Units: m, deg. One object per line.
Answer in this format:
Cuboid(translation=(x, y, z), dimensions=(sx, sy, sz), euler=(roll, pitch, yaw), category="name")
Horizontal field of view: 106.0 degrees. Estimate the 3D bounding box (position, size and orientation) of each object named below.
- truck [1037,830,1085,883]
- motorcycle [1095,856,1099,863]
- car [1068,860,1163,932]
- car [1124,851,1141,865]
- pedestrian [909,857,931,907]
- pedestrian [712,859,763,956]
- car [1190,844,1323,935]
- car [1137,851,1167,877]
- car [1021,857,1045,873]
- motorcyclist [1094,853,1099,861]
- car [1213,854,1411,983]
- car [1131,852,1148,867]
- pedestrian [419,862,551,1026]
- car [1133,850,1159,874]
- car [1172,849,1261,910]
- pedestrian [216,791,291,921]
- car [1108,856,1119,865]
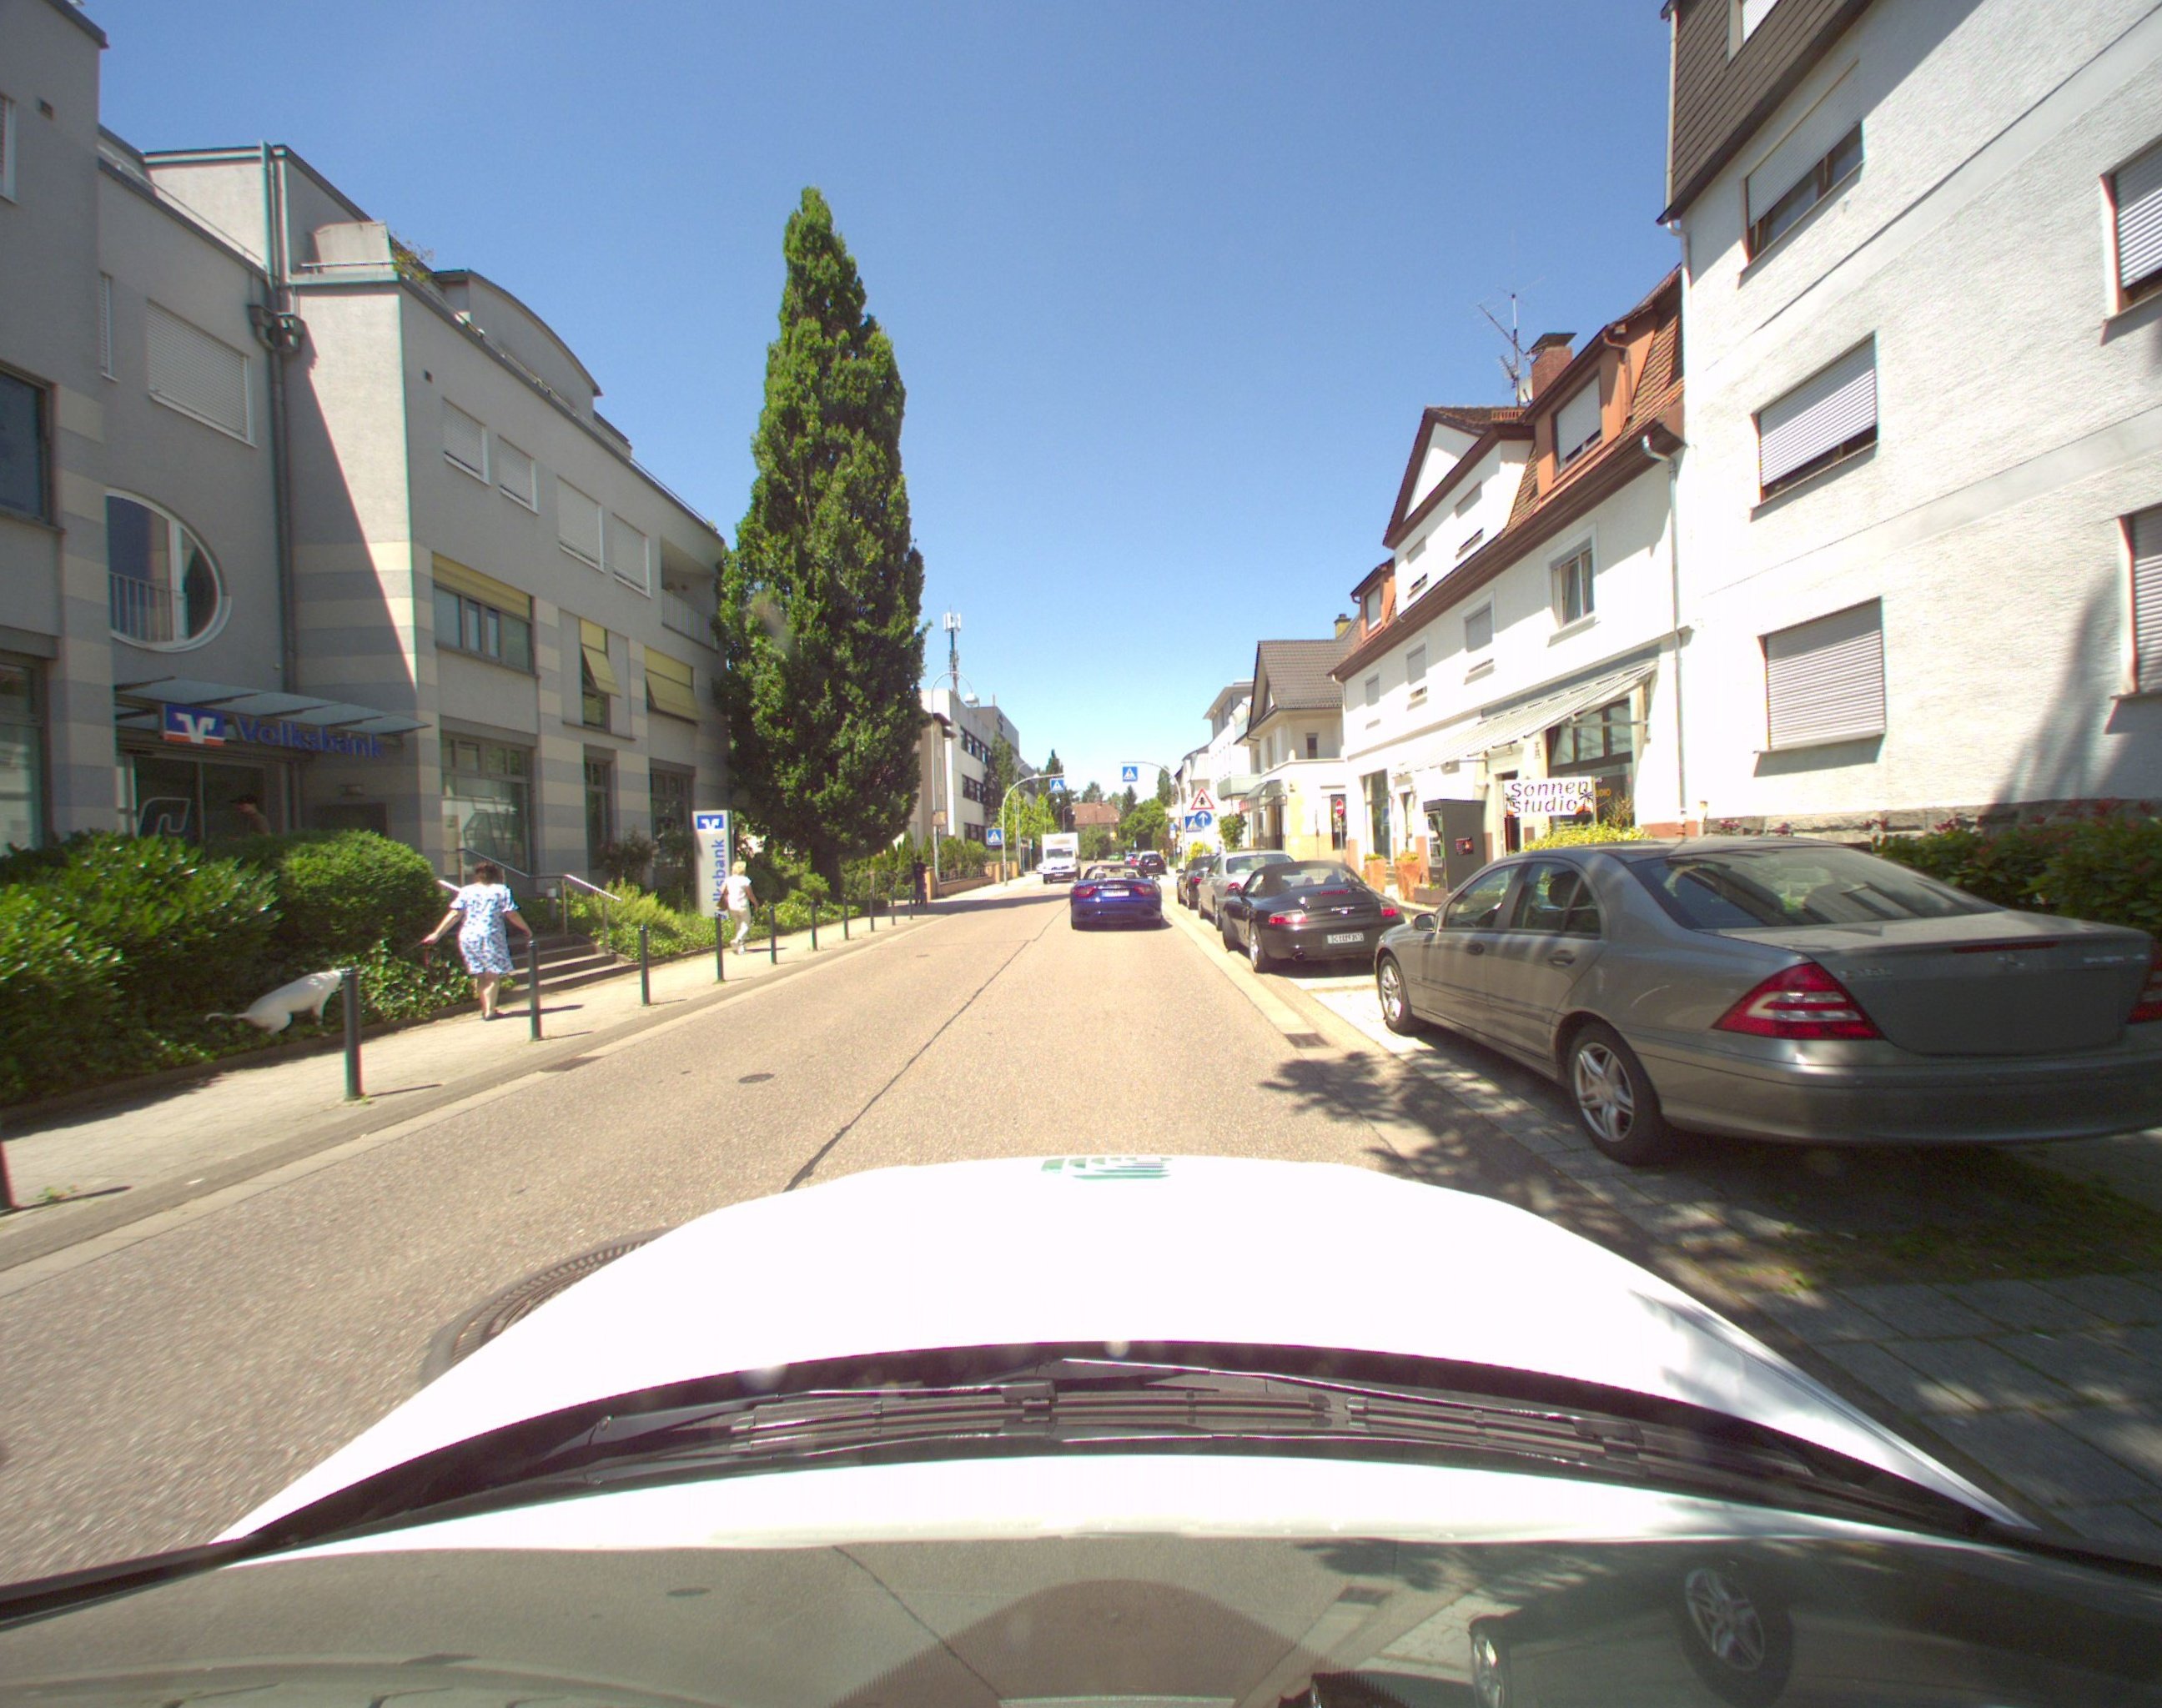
Cuboid(translation=(-1.157, 0.147, 50.203), dimensions=(2.410, 2.983, 6.261), euler=(-3, 0, 2), category="truck")
Cuboid(translation=(2.725, 0.927, 140.698), dimensions=(0.696, 1.107, 1.790), euler=(-4, 0, 1), category="motorcycle")
Cuboid(translation=(0.754, 0.848, 18.261), dimensions=(1.820, 1.337, 4.702), euler=(-2, 0, 2), category="car")
Cuboid(translation=(6.355, 0.474, 100.954), dimensions=(1.836, 1.619, 4.430), euler=(-4, 0, 3), category="car")
Cuboid(translation=(-5.511, 0.945, 27.947), dimensions=(0.534, 1.685, 0.709), euler=(-2, -1, 2), category="pedestrian")
Cuboid(translation=(-6.139, 0.940, 14.577), dimensions=(0.534, 1.685, 0.709), euler=(-2, -1, 2), category="pedestrian")
Cuboid(translation=(3.401, 0.630, 16.696), dimensions=(1.737, 1.468, 4.854), euler=(-5, 0, 2), category="car")
Cuboid(translation=(4.846, 0.650, 56.210), dimensions=(1.698, 1.556, 4.751), euler=(-5, 0, 2), category="car")
Cuboid(translation=(-4.474, 1.045, 76.822), dimensions=(1.815, 1.411, 4.580), euler=(-1, 0, 2), category="car")
Cuboid(translation=(2.695, 0.527, 140.541), dimensions=(0.696, 1.433, 0.707), euler=(-4, 0, 1), category="motorcyclist")
Cuboid(translation=(2.905, 0.718, 11.143), dimensions=(1.552, 1.340, 4.175), euler=(-4, 0, 2), category="car")
Cuboid(translation=(5.988, 0.559, 83.747), dimensions=(1.597, 1.440, 3.856), euler=(-5, 0, 3), category="car")
Cuboid(translation=(-6.378, 0.921, 8.760), dimensions=(0.746, 1.645, 0.848), euler=(-2, -1, 1), category="pedestrian")
Cuboid(translation=(4.925, 0.582, 62.135), dimensions=(1.698, 1.666, 4.583), euler=(-3, 0, 2), category="car")
Cuboid(translation=(3.713, 0.646, 23.053), dimensions=(1.820, 1.426, 4.702), euler=(-4, 0, 2), category="car")
Cuboid(translation=(-11.432, 0.022, 11.271), dimensions=(0.584, 1.739, 0.605), euler=(-2, -1, -34), category="pedestrian")
Cuboid(translation=(6.191, 1.145, 153.120), dimensions=(1.814, 1.588, 4.106), euler=(1, 1, 4), category="car")
